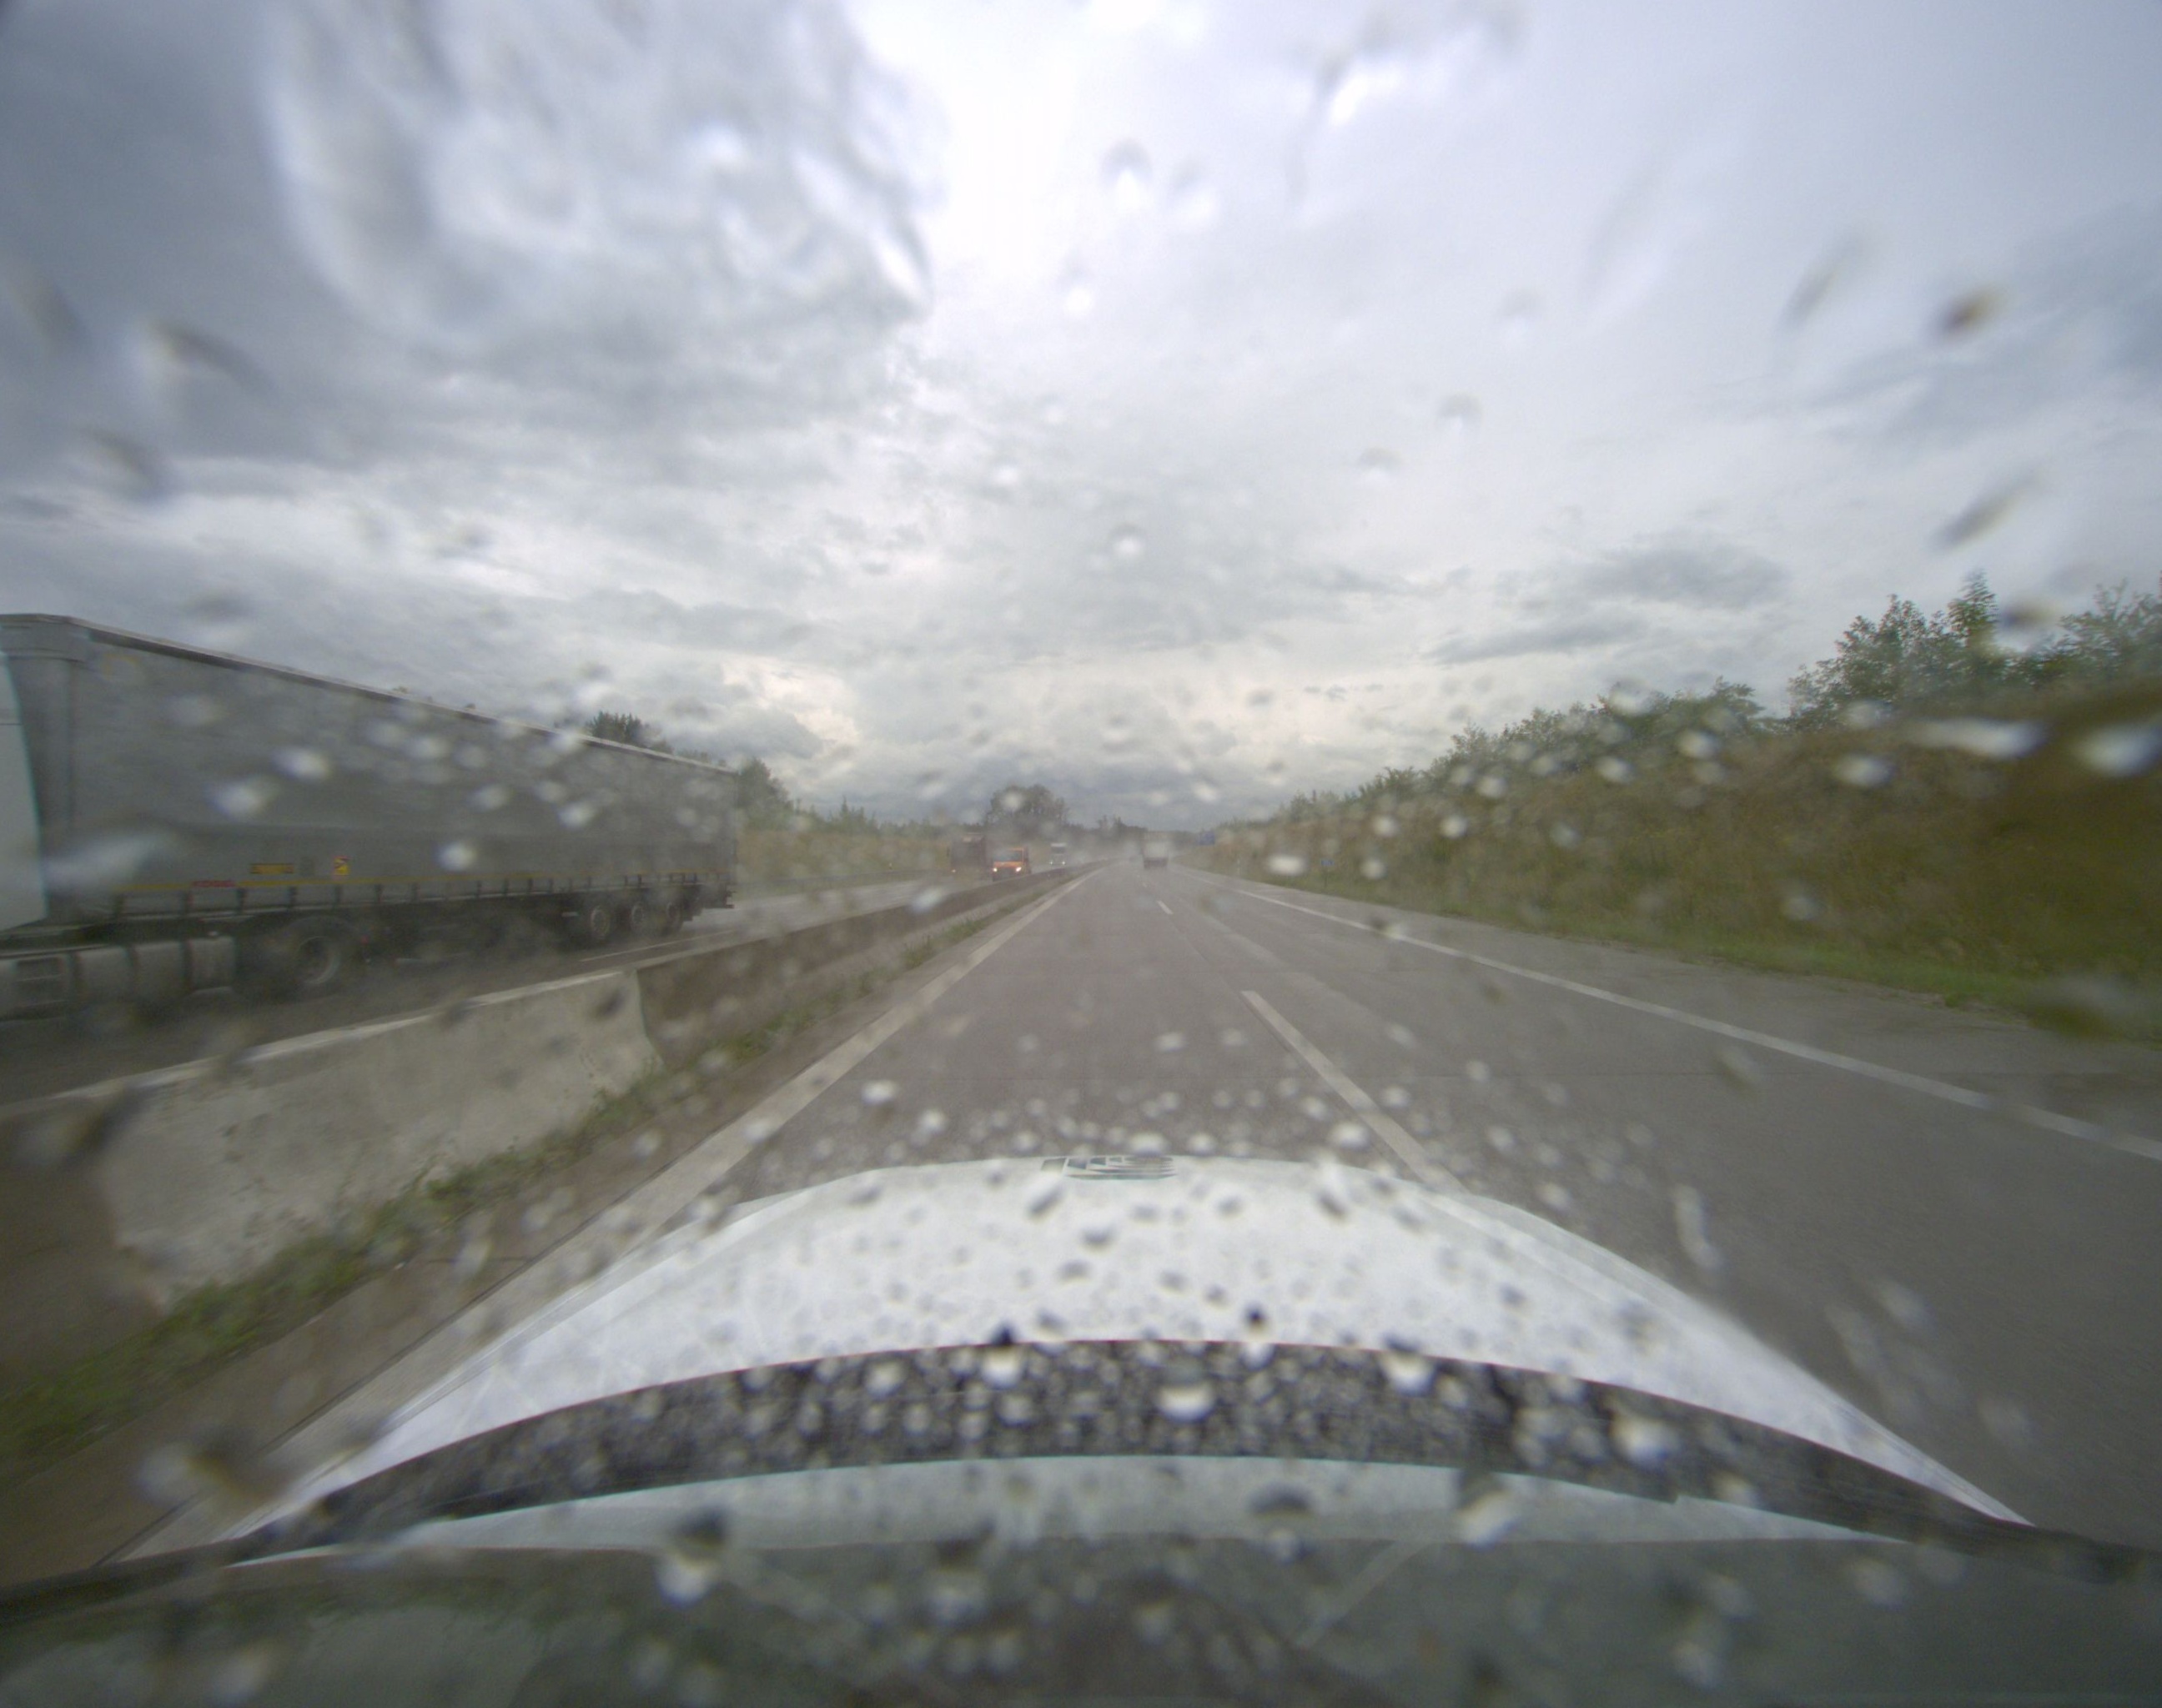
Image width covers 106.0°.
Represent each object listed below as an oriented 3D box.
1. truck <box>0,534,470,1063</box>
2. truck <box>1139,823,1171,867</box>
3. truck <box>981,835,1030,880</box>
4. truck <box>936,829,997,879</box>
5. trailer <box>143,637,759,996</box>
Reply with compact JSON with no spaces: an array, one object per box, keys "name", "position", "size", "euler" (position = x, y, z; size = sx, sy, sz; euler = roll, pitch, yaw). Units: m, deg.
[{"name":"truck","position":[-10.565,-0.465,8.717],"size":[2.809,4.520,6.629],"euler":[-1,0,2]},{"name":"truck","position":[7.906,-0.973,87.646],"size":[3.228,4.436,8.257],"euler":[-1,1,5]},{"name":"truck","position":[-4.924,0.210,53.909],"size":[2.323,2.782,6.165],"euler":[-1,0,2]},{"name":"truck","position":[-8.840,-0.005,63.947],"size":[3.155,3.533,8.370],"euler":[-1,0,2]},{"name":"trailer","position":[-10.233,-0.469,15.970],"size":[2.836,4.520,11.345],"euler":[-1,0,3]}]
